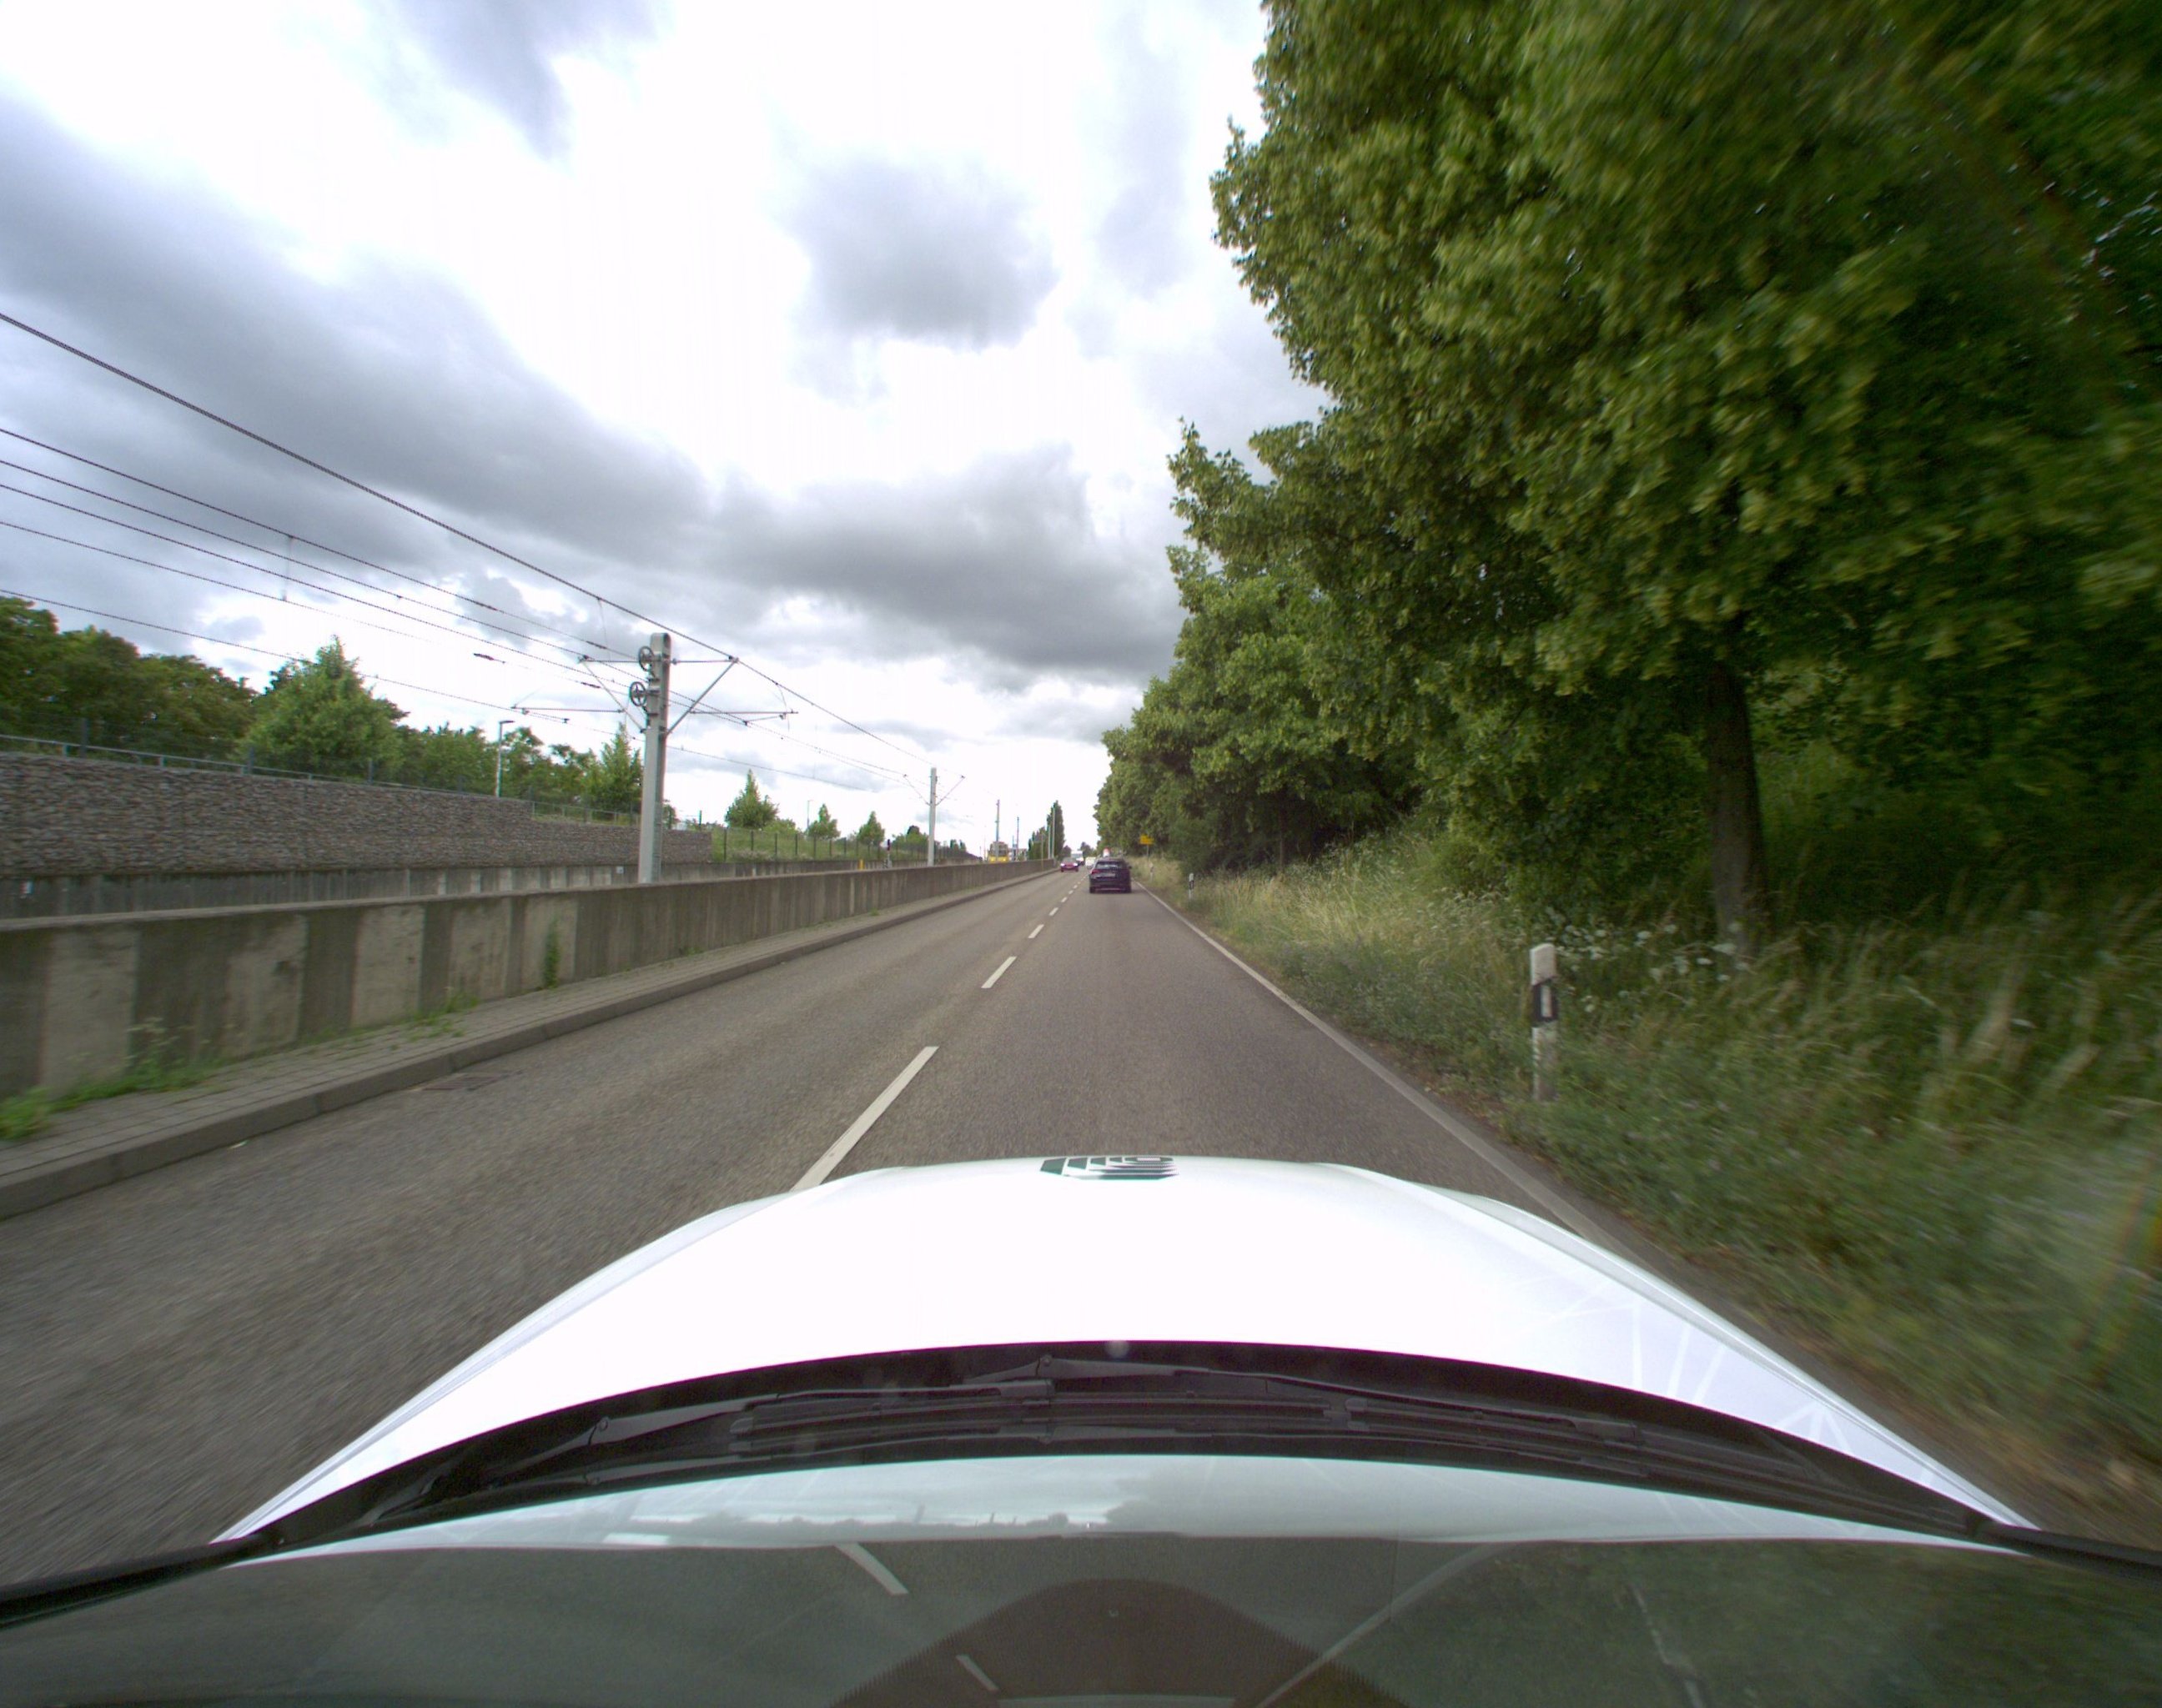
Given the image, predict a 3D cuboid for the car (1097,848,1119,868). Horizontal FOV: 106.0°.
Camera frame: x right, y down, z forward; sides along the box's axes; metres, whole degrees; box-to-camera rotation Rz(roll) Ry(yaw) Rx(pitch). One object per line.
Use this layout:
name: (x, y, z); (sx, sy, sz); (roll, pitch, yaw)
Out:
car: (2.457, 0.364, 74.425); (1.986, 1.740, 4.001); (-1, -1, 1)

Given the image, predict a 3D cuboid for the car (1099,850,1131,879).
car: (2.185, 0.638, 52.604); (1.986, 1.753, 4.001); (-1, 0, 1)

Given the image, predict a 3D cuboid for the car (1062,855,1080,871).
car: (-1.012, 0.885, 81.465); (1.657, 1.545, 3.953); (-1, 0, 1)

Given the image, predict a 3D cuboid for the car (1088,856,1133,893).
car: (1.236, 0.832, 34.814); (1.775, 1.468, 4.001); (-1, 0, 2)

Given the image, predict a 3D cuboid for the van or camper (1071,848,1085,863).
van or camper: (-0.492, 0.309, 133.227); (2.075, 2.396, 6.138); (-1, 0, 1)

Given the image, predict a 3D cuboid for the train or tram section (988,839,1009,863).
train or tram section: (-12.505, -0.324, 121.814); (2.809, 3.117, 18.869); (-1, -1, -7)
